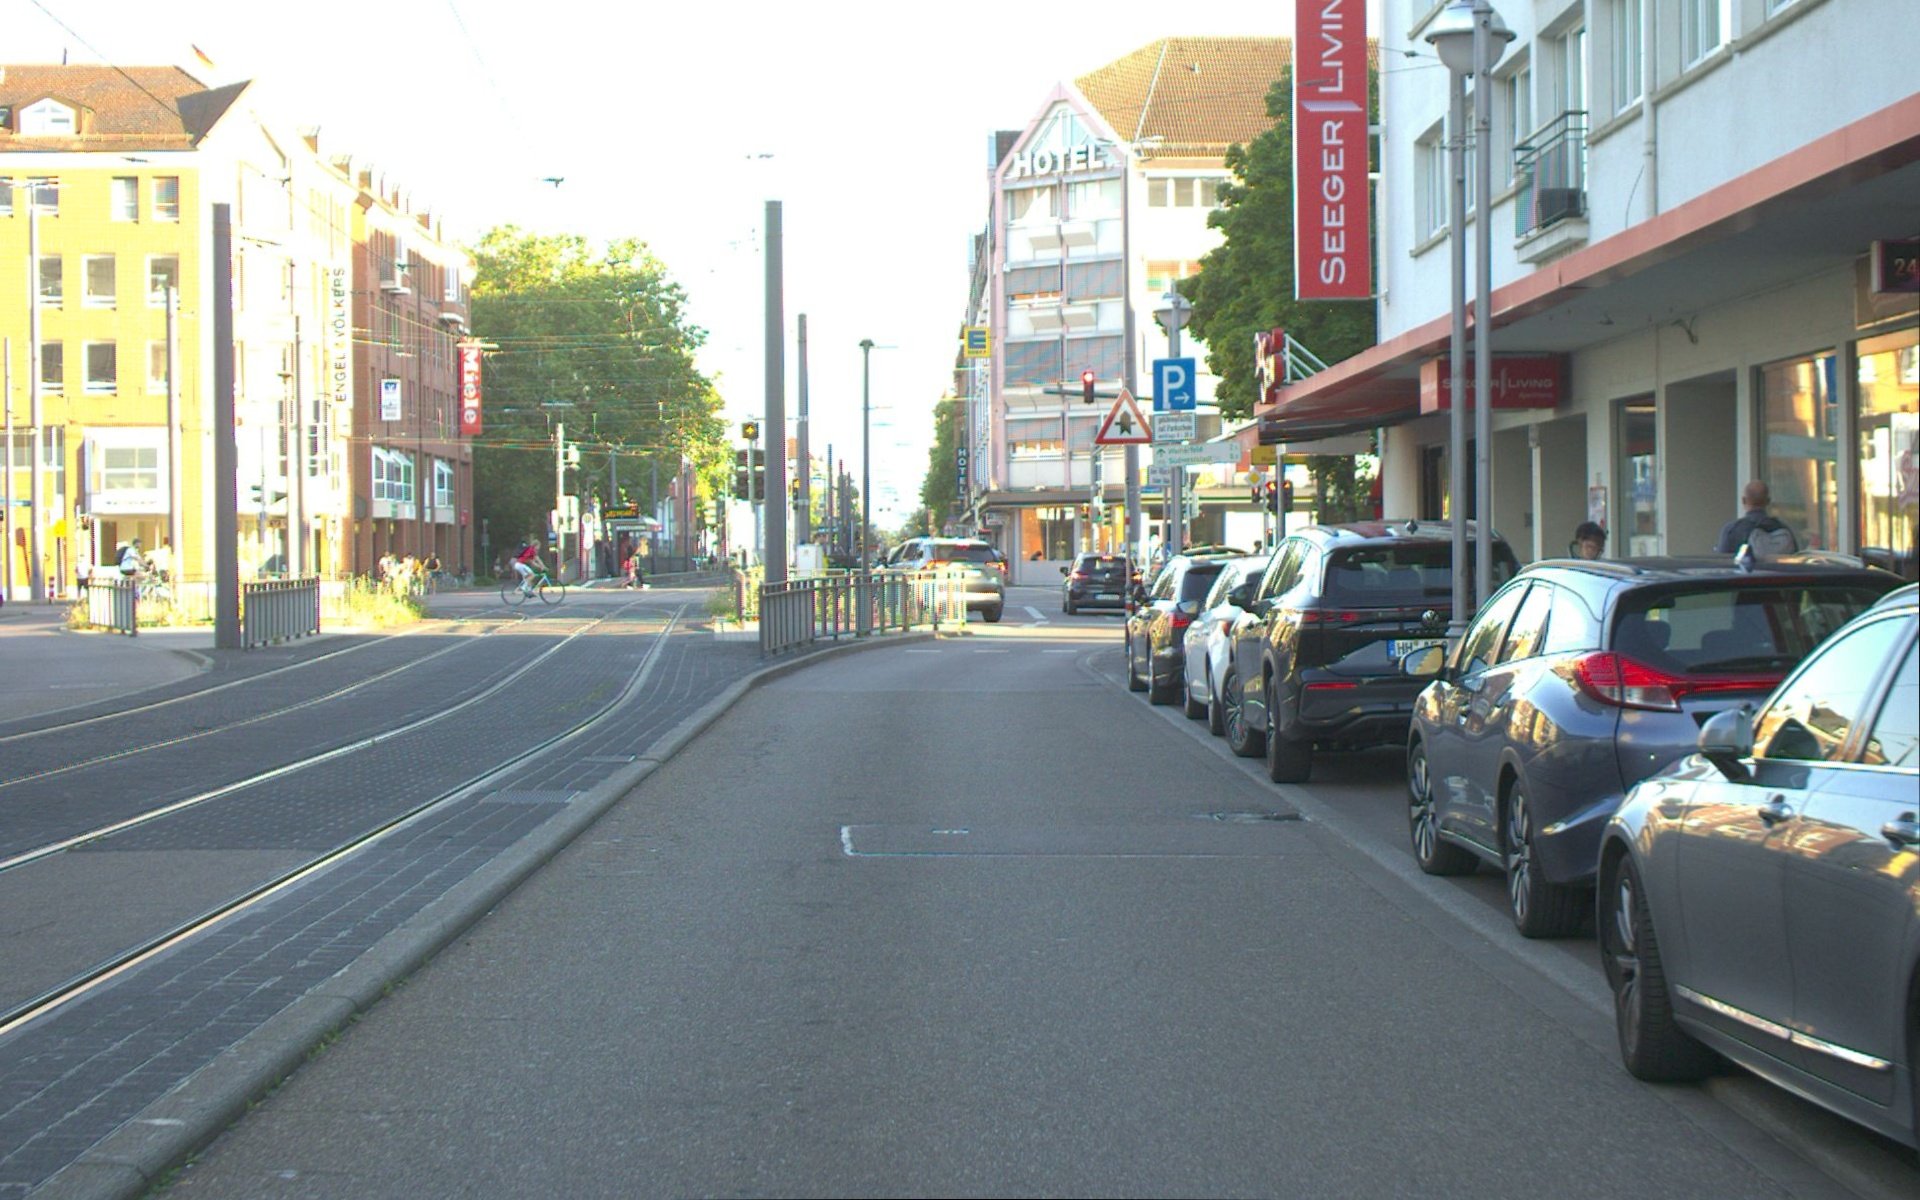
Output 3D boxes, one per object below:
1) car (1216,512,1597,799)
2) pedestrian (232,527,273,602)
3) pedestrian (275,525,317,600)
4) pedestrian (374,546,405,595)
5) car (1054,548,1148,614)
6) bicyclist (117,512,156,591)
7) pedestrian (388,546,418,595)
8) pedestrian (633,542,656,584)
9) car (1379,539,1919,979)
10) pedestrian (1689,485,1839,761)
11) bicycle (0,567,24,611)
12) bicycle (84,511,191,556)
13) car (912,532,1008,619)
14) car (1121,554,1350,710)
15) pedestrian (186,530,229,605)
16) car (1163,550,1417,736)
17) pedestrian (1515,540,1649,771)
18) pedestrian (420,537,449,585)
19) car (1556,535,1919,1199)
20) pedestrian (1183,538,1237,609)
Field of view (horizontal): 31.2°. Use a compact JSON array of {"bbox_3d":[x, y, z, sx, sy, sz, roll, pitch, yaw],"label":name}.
[{"bbox_3d":[2.867,0.322,23.025,1.856,1.695,4.418,1,0,-1],"label":"car"},{"bbox_3d":[-12.977,-0.651,63.077,0.663,1.370,0.652,0,1,-3],"label":"pedestrian"},{"bbox_3d":[-12.223,-0.694,63.284,0.663,1.370,0.652,-1,1,-3],"label":"pedestrian"},{"bbox_3d":[-23.461,-1.212,141.362,1.093,2.007,0.909,1,0,-3],"label":"pedestrian"},{"bbox_3d":[3.202,-0.457,78.505,1.764,1.435,4.001,0,1,-3],"label":"car"},{"bbox_3d":[-21.227,-1.253,88.650,0.860,2.007,0.647,1,0,-21],"label":"bicyclist"},{"bbox_3d":[-23.146,-1.216,142.779,1.093,2.007,0.909,1,0,-3],"label":"pedestrian"},{"bbox_3d":[-12.640,-1.484,137.910,0.805,1.658,0.703,1,0,2],"label":"pedestrian"},{"bbox_3d":[2.940,0.528,14.311,1.781,1.517,4.357,1,1,-1],"label":"car"},{"bbox_3d":[5.589,0.152,23.946,0.774,1.874,0.935,-1,0,-2],"label":"pedestrian"},{"bbox_3d":[-25.396,-0.307,88.200,2.639,1.096,0.435,1,0,-20],"label":"bicycle"},{"bbox_3d":[-21.205,-1.706,88.652,2.639,1.096,0.435,1,0,-20],"label":"bicycle"},{"bbox_3d":[0.024,-0.472,69.316,1.835,1.631,4.090,-2,-1,0],"label":"car"},{"bbox_3d":[2.676,0.277,34.333,1.790,1.408,4.688,1,0,-1],"label":"car"},{"bbox_3d":[-13.767,-0.600,62.930,0.663,1.370,0.652,-1,1,-3],"label":"pedestrian"},{"bbox_3d":[2.700,0.321,28.933,1.651,1.416,4.191,1,0,-1],"label":"car"},{"bbox_3d":[4.318,0.368,23.904,0.733,1.568,0.967,0,1,-1],"label":"pedestrian"},{"bbox_3d":[-22.260,-1.652,145.662,1.093,2.007,1.163,1,0,-3],"label":"pedestrian"},{"bbox_3d":[2.821,0.643,8.188,1.791,1.528,4.857,1,0,-2],"label":"car"},{"bbox_3d":[6.009,-0.646,82.694,0.823,1.679,1.048,1,0,-28],"label":"pedestrian"}]
